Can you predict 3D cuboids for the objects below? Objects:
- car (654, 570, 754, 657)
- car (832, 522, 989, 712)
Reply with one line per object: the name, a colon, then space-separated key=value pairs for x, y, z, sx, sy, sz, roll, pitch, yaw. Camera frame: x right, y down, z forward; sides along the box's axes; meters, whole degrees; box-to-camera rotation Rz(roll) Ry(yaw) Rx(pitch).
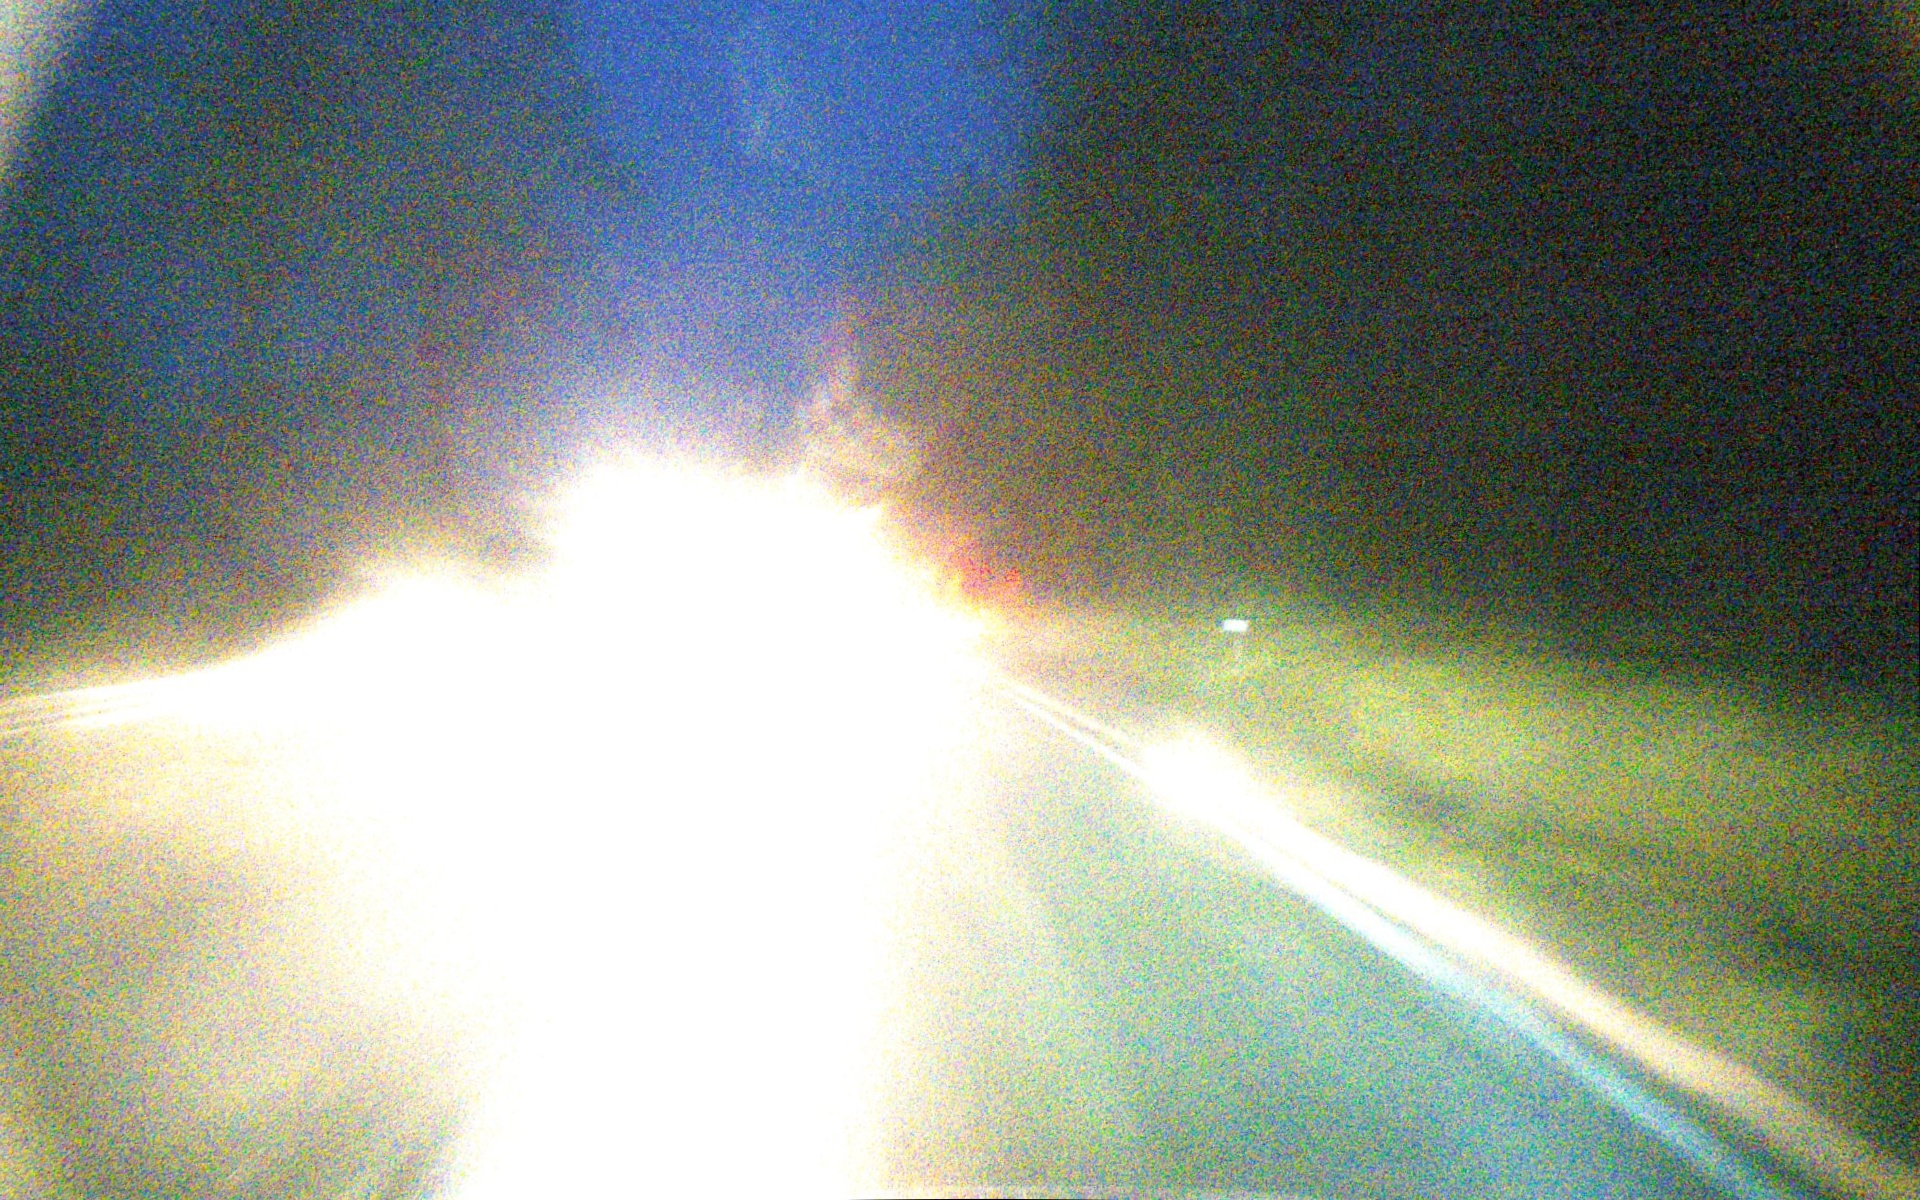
car: x=-5.009 y=0.231 z=32.663 sx=1.532 sy=1.551 sz=3.484 roll=-3 pitch=1 yaw=-3
car: x=-0.794 y=0.221 z=25.940 sx=2.137 sy=2.602 sz=4.506 roll=3 pitch=0 yaw=-2
